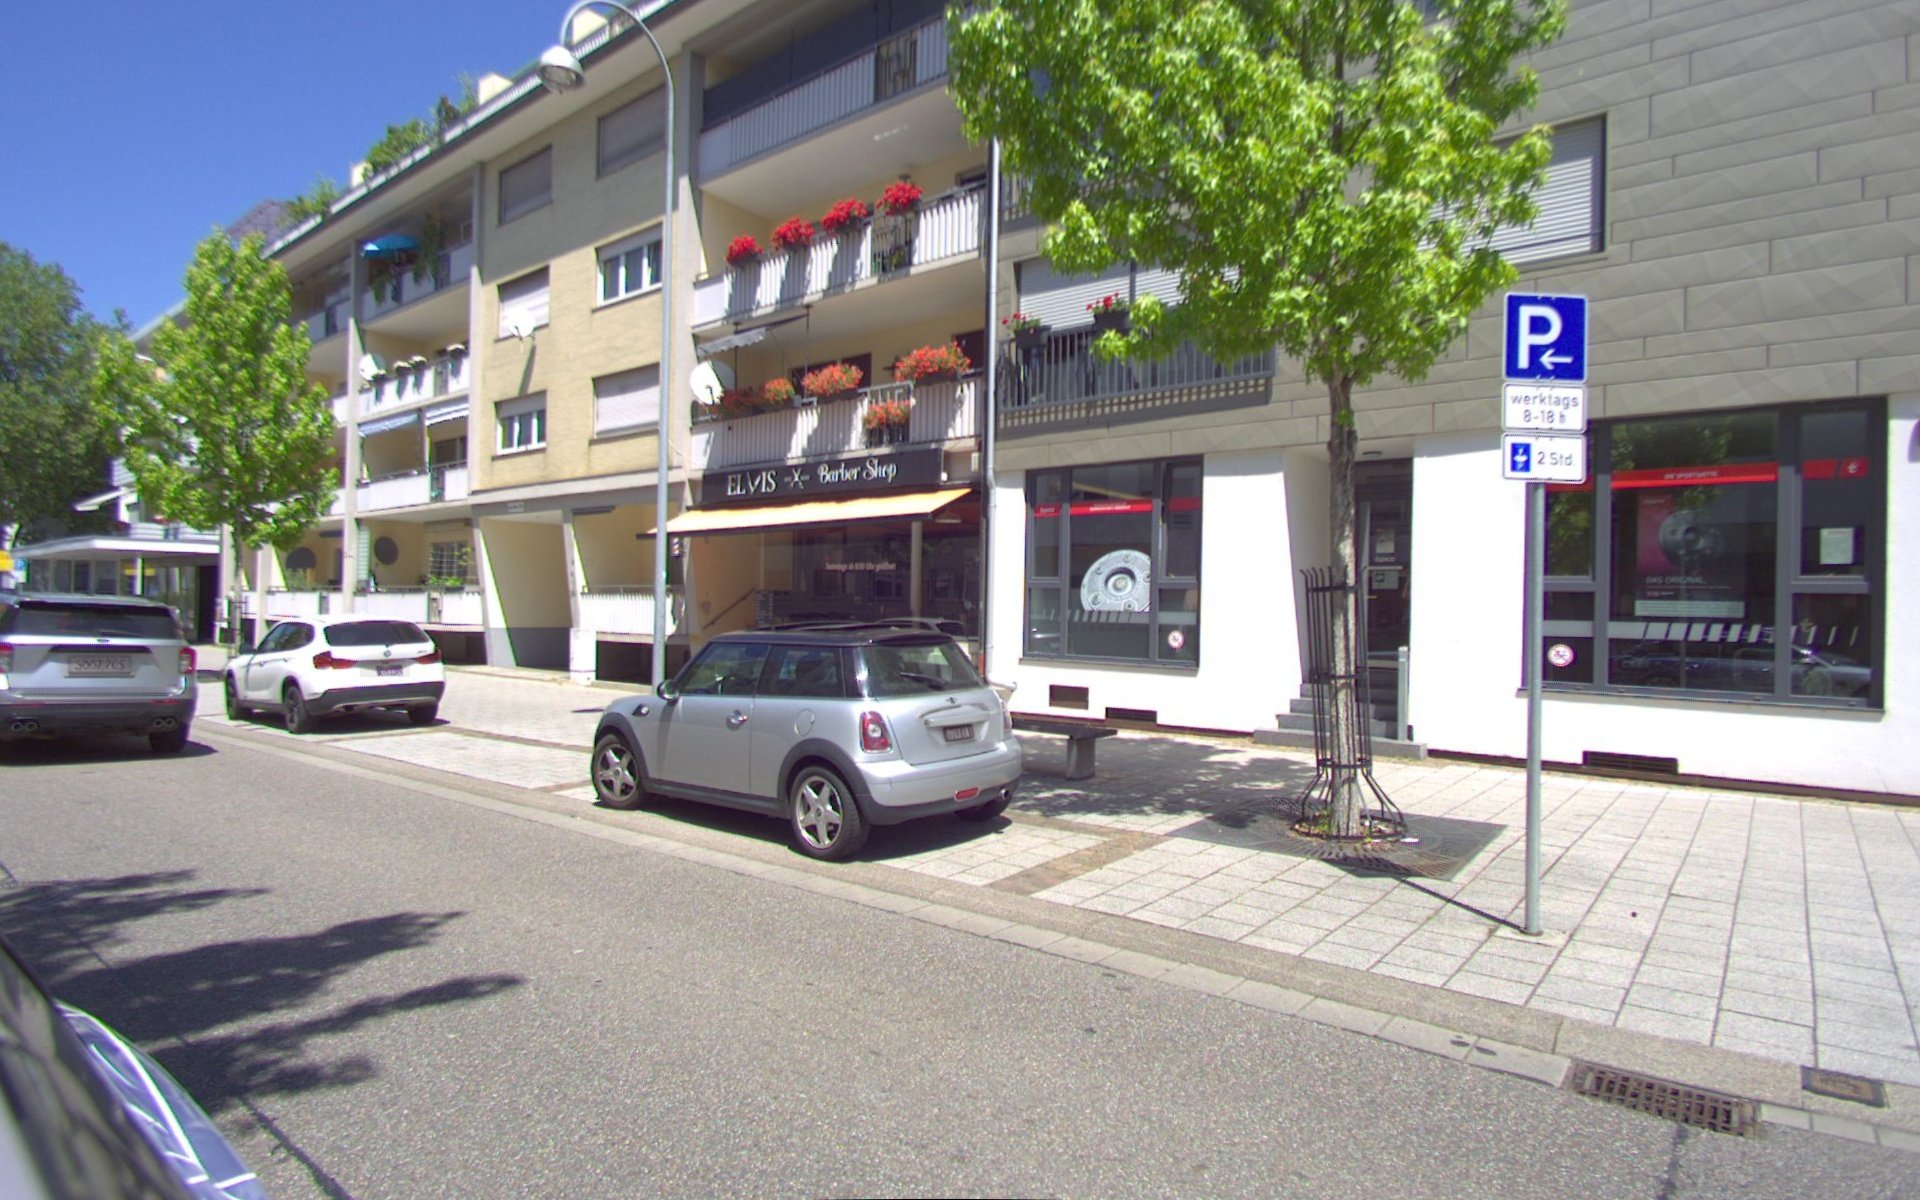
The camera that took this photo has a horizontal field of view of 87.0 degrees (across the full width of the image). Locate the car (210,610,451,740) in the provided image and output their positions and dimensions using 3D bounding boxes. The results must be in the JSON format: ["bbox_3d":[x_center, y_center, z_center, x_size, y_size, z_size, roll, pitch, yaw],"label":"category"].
[{"bbox_3d":[-9.105,0.948,14.497,4.296,1.604,1.678,-1,-1,40],"label":"car"}]

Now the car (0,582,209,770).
[{"bbox_3d":[-10.518,0.752,11.478,4.748,1.767,1.883,0,-3,37],"label":"car"}]

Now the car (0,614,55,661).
[{"bbox_3d":[-31.666,1.191,33.389,3.993,1.475,1.975,-1,-1,37],"label":"car"}]

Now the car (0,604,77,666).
[{"bbox_3d":[-27.135,0.985,29.459,3.367,1.674,1.624,-1,0,40],"label":"car"}]

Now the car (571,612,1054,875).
[{"bbox_3d":[-1.215,0.842,7.517,3.545,1.485,1.605,0,-1,40],"label":"car"}]
